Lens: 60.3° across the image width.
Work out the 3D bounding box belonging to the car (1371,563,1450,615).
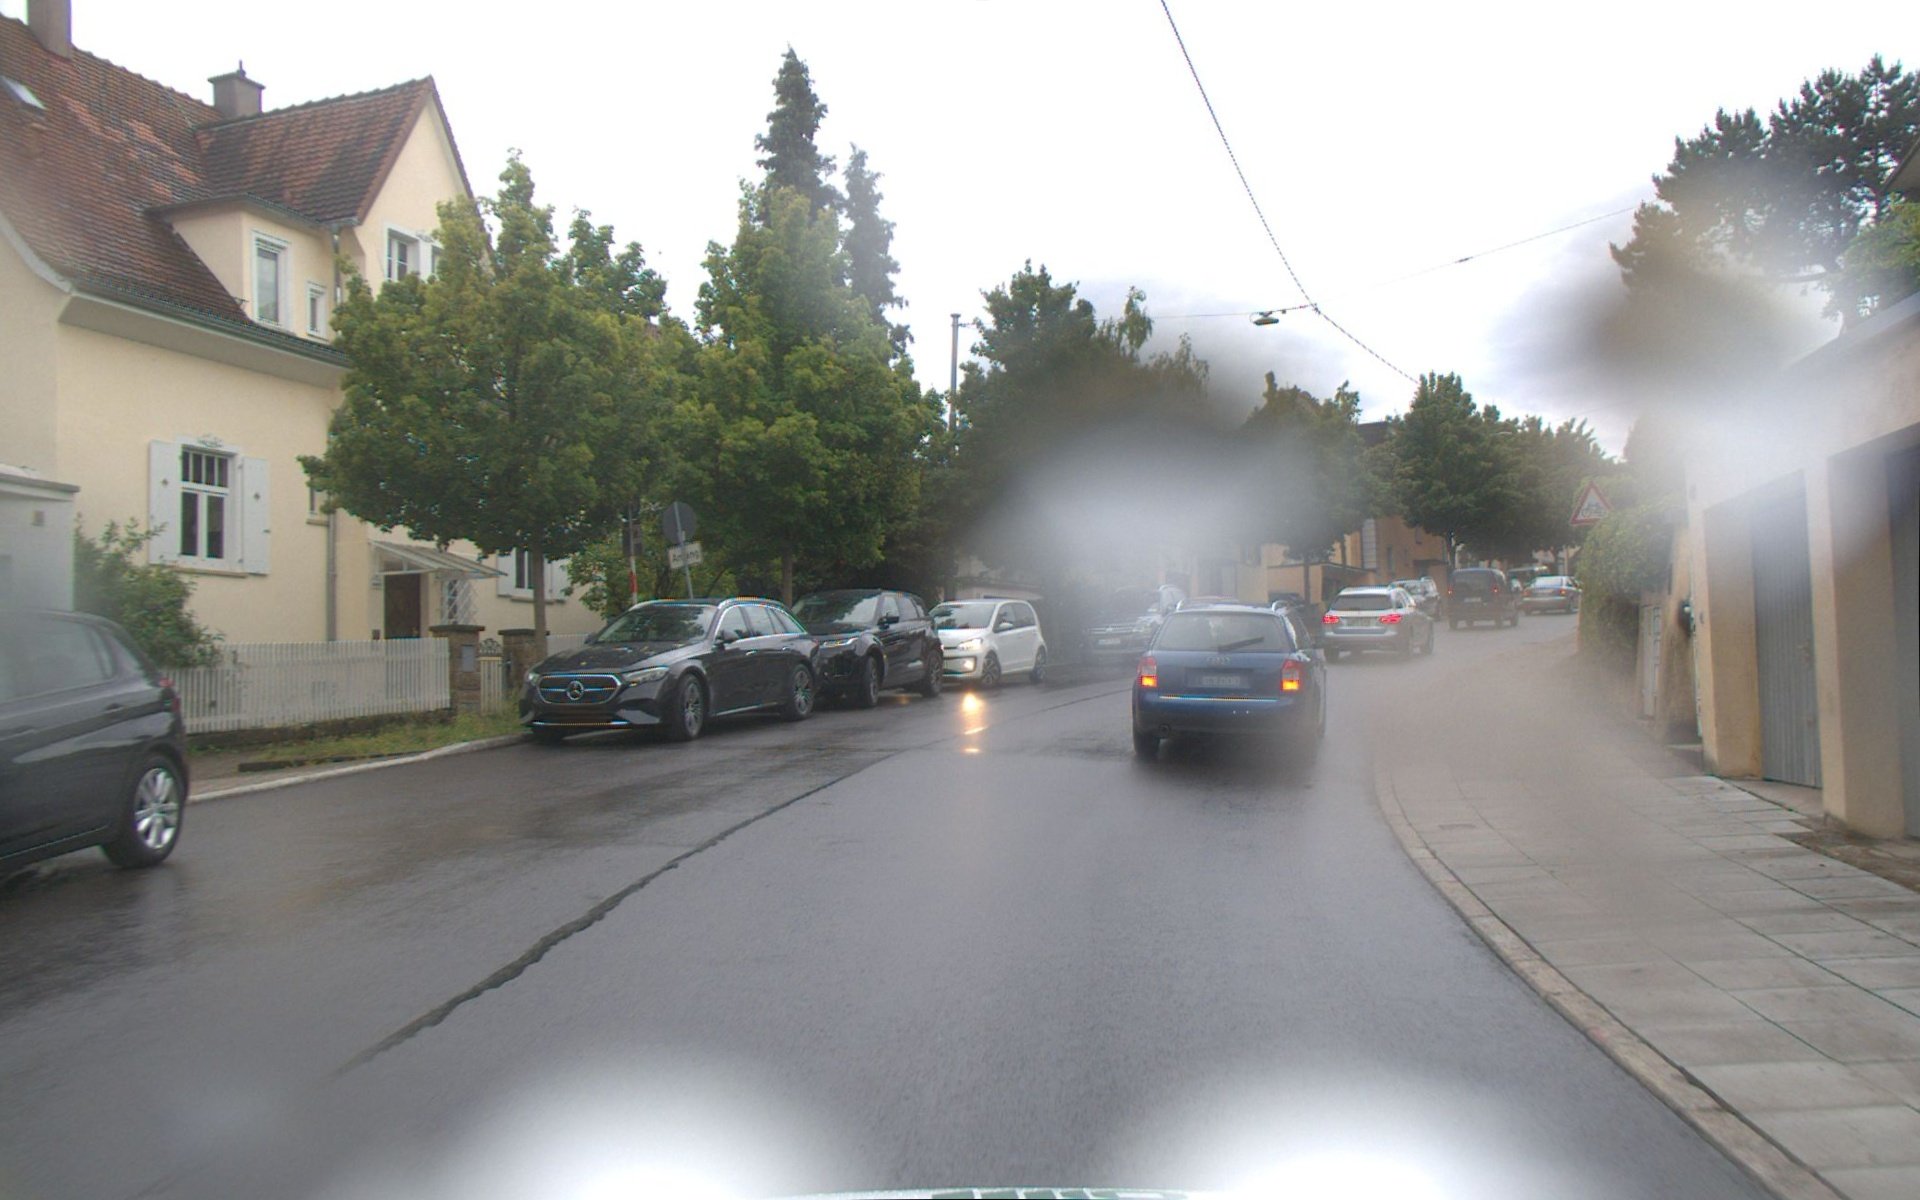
[{"bbox_3d":[17.090,-0.436,62.612,1.736,1.662,4.102,-7,-2,30],"label":"car"}]

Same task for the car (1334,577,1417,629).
[{"bbox_3d":[14.533,0.091,57.712,1.734,1.561,4.600,-5,-1,27],"label":"car"}]

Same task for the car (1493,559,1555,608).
[{"bbox_3d":[27.884,-0.847,81.621,1.759,2.085,4.772,-7,-1,31],"label":"car"}]

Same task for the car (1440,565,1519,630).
[{"bbox_3d":[16.369,-0.114,51.961,1.700,1.799,4.232,-1,3,27],"label":"car"}]

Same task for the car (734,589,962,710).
[{"bbox_3d":[-1.497,0.660,23.779,1.697,1.572,4.211,-1,0,20],"label":"car"}]

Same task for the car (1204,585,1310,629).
[{"bbox_3d":[12.616,0.311,70.357,3.978,1.675,1.860,-3,-1,31],"label":"car"}]

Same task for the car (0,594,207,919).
[{"bbox_3d":[-5.238,0.744,7.673,1.635,1.491,3.895,-2,0,1],"label":"car"}]

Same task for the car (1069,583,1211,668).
[{"bbox_3d":[4.074,0.525,36.768,1.765,1.698,4.424,-3,-1,24],"label":"car"}]

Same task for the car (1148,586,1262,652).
[{"bbox_3d":[6.158,0.449,41.332,1.649,1.497,3.861,-3,-1,26],"label":"car"}]

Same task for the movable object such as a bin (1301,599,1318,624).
[{"bbox_3d":[15.142,0.514,71.657,0.575,1.041,0.585,-2,0,28],"label":"movable object such as a bin"}]

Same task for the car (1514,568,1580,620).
[{"bbox_3d":[22.621,-0.248,63.638,1.701,1.799,4.229,-1,3,29],"label":"car"}]

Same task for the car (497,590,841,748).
[{"bbox_3d":[-3.136,0.699,19.040,1.827,1.572,4.907,-1,0,17],"label":"car"}]

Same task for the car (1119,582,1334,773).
[{"bbox_3d":[2.758,0.670,16.404,1.696,1.492,4.004,-1,2,15],"label":"car"}]

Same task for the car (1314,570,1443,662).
[{"bbox_3d":[8.837,0.295,34.705,1.935,1.663,4.235,-1,3,24],"label":"car"}]

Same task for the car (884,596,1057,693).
[{"bbox_3d":[0.262,0.715,28.371,1.697,1.492,4.001,-1,0,20],"label":"car"}]
